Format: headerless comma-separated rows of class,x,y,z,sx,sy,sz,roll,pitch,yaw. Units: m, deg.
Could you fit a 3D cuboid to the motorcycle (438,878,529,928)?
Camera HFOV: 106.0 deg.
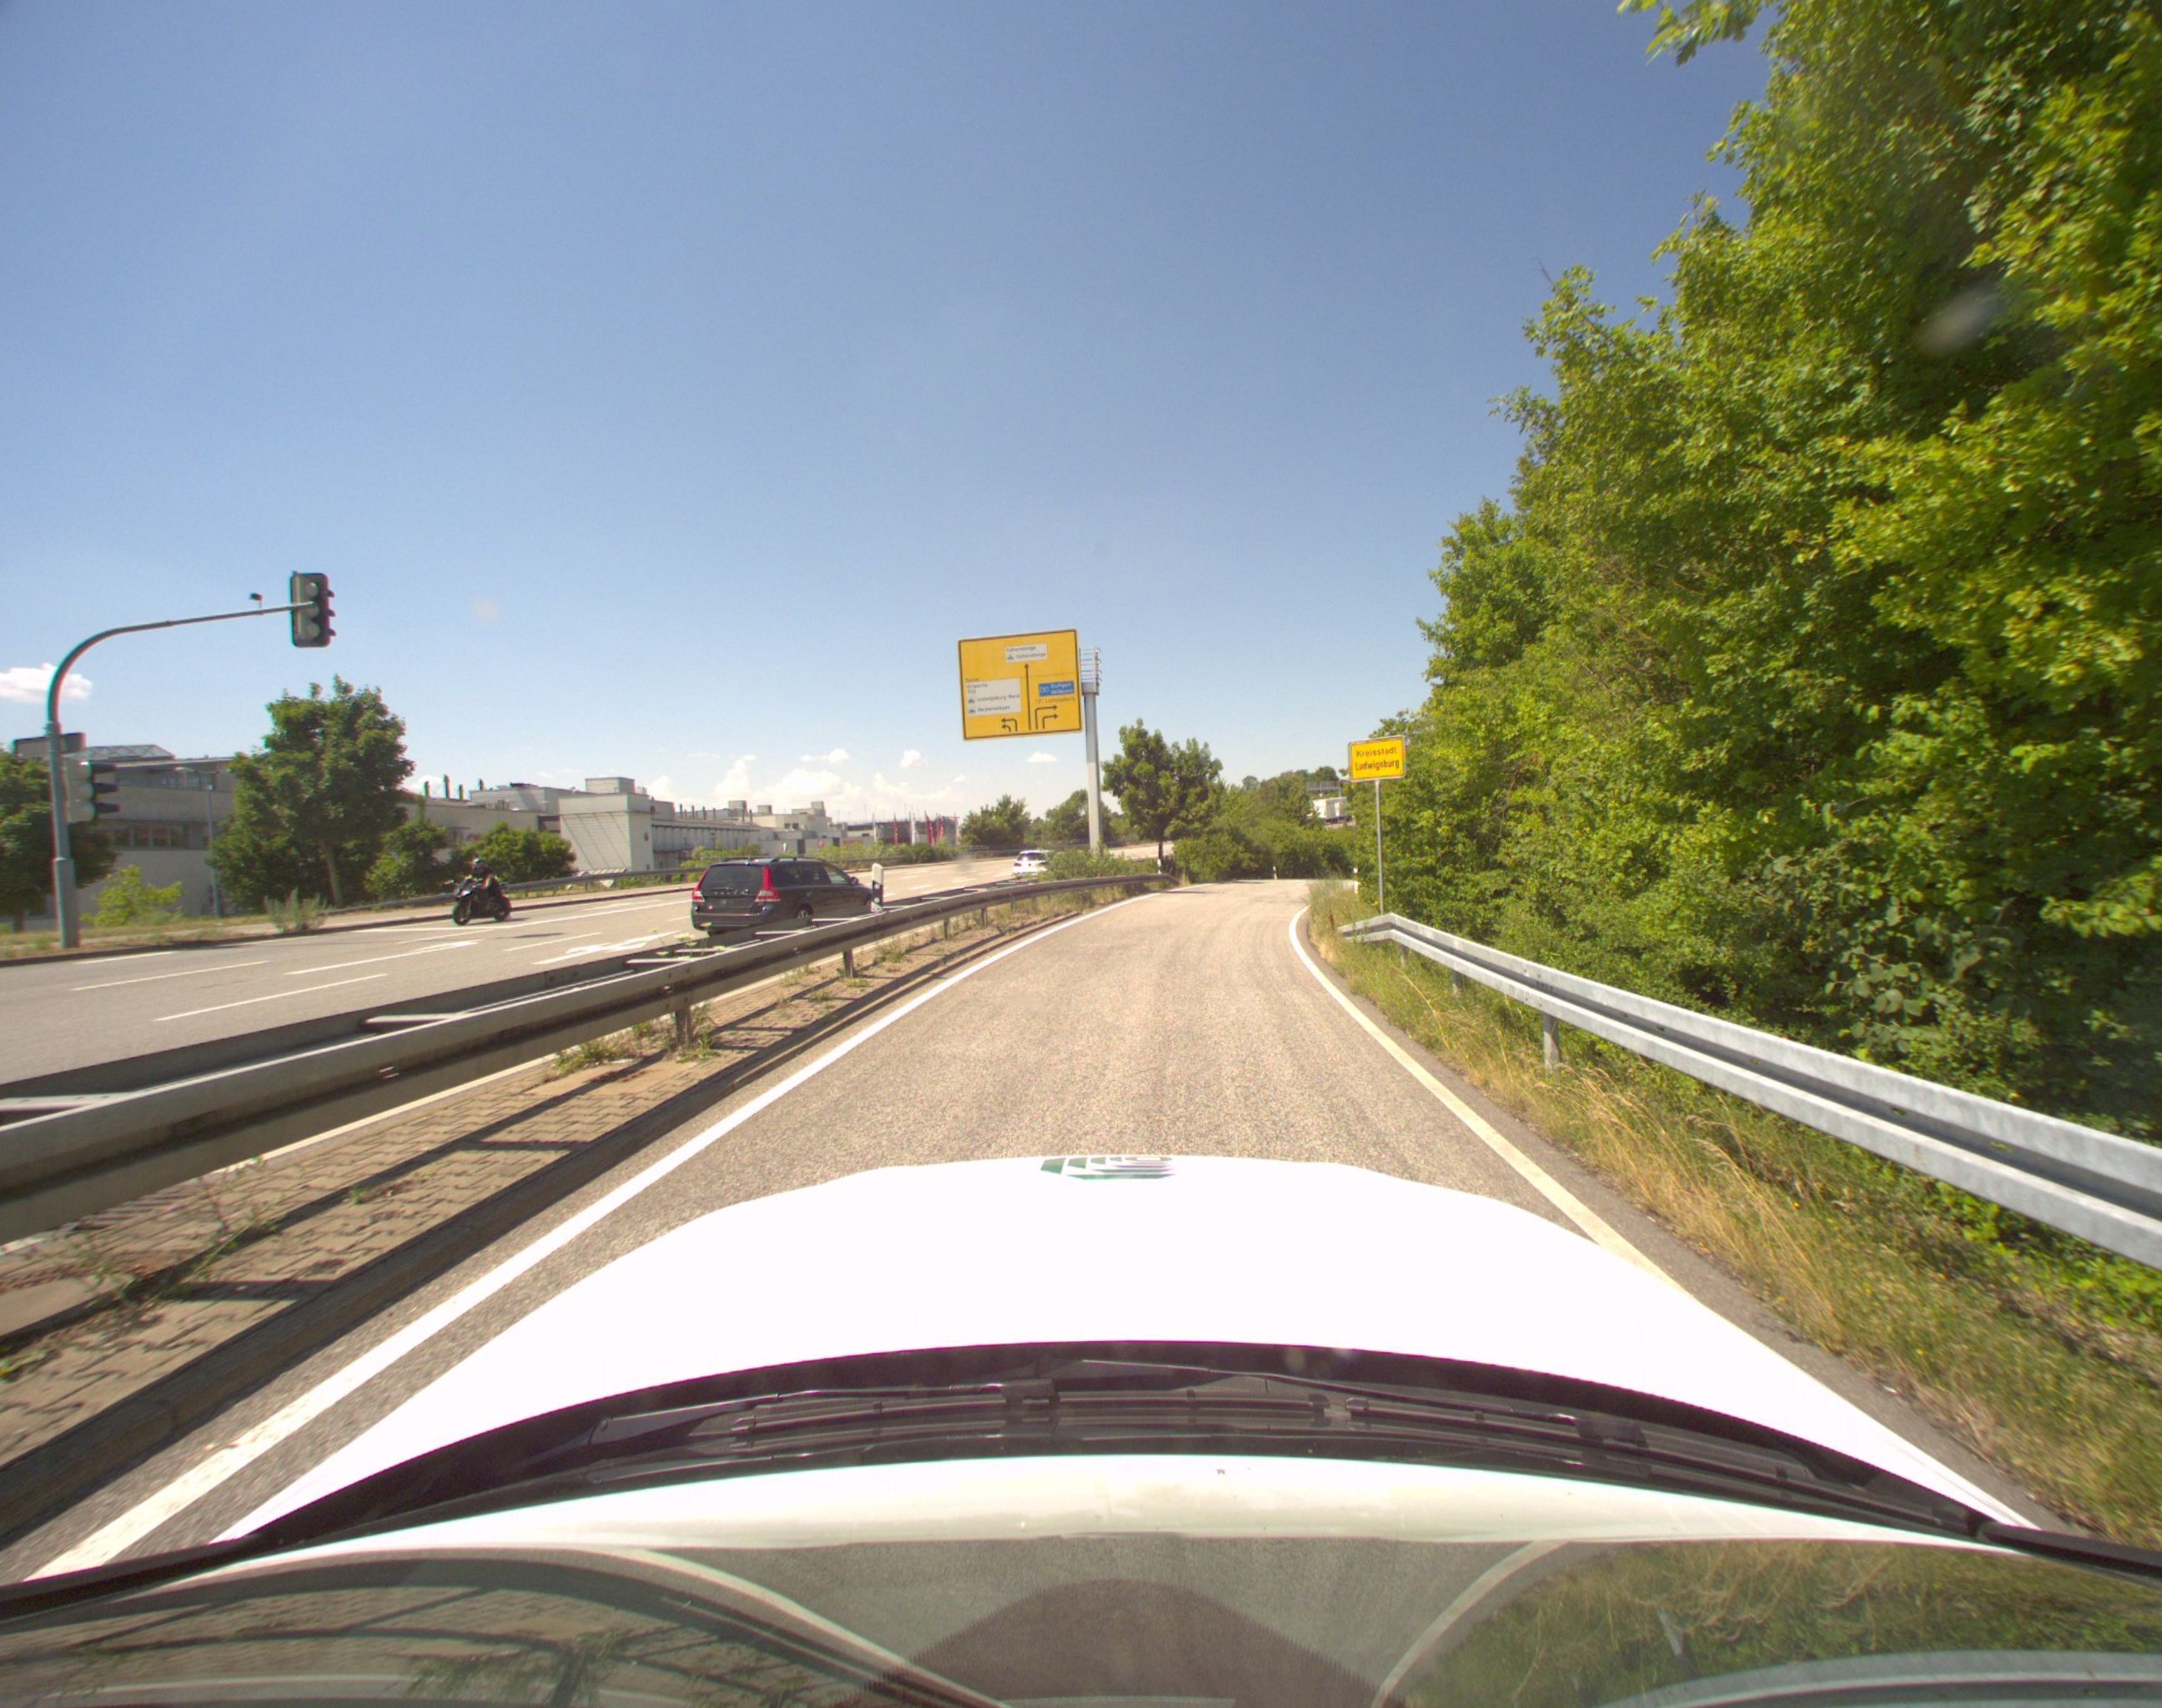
motorcycle,-15.142,1.218,20.728,0.560,1.080,2.284,-3,0,0

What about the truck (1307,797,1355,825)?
truck,35.927,-6.177,116.739,2.998,3.589,8.959,-4,0,42

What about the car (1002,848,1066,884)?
car,-2.059,0.510,36.985,1.981,1.486,4.147,-2,0,10

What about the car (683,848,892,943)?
car,-5.540,0.700,16.155,1.721,1.545,4.746,-3,0,9

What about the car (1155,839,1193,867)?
car,7.431,-0.134,64.776,1.720,2.013,3.810,-4,0,25

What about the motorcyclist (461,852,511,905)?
motorcyclist,-15.191,0.617,20.807,0.672,1.302,0.723,-4,0,0
